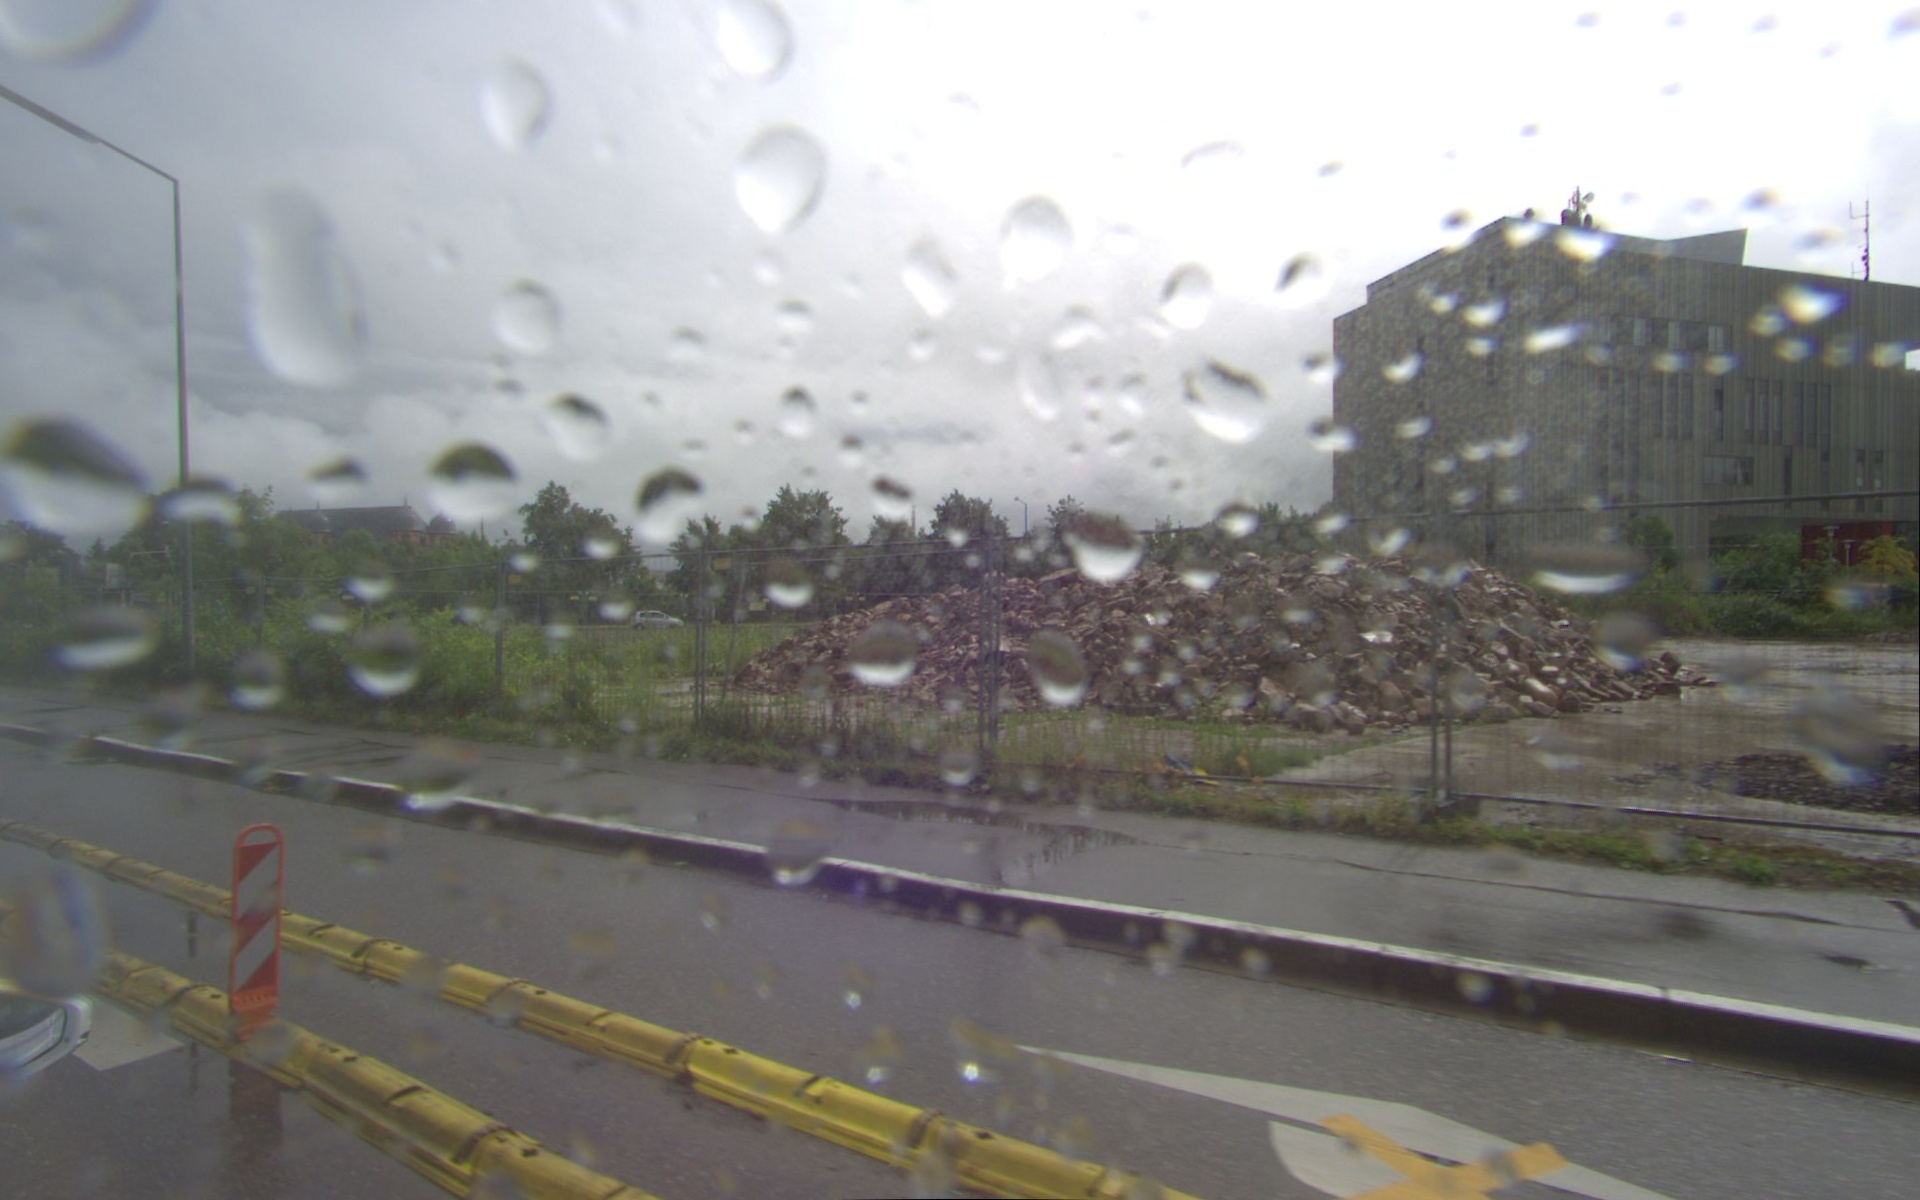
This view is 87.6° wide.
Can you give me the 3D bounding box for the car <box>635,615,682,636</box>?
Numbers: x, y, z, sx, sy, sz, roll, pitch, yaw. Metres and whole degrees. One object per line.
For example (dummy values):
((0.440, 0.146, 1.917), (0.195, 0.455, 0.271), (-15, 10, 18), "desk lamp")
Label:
((-23.826, 2.022, 79.085), (3.469, 1.567, 1.627), (0, 0, -20), "car")
